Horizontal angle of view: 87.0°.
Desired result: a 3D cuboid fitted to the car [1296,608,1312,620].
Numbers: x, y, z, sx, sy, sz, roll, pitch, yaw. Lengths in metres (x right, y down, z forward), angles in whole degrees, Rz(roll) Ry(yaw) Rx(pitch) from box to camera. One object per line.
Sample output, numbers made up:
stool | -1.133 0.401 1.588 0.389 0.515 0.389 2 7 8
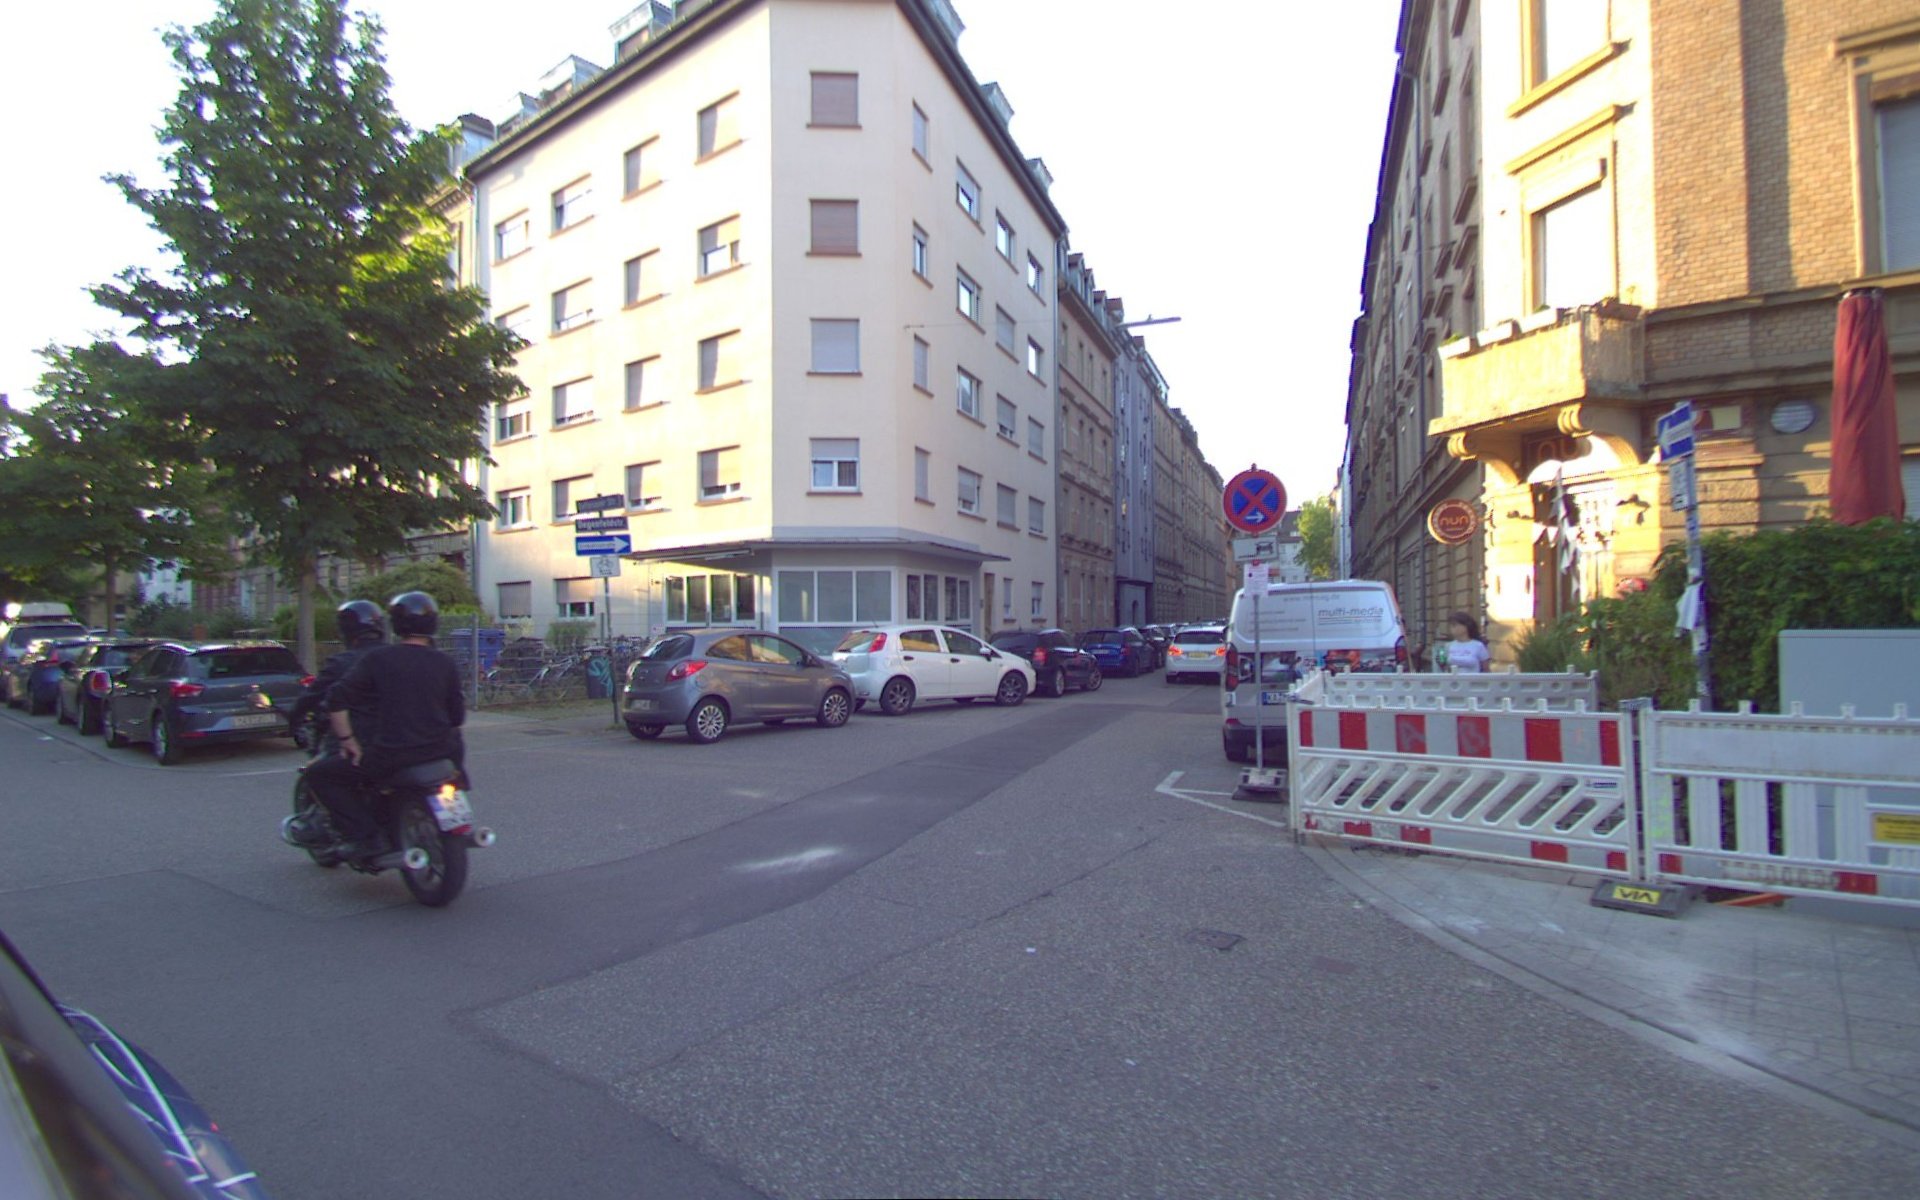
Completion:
car | 42.059 1.707 123.763 1.774 1.470 3.974 -2 -2 20

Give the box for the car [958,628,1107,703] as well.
car | 1.682 1.345 21.882 1.986 1.450 4.047 -2 -2 23

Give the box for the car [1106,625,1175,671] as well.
car | 6.222 1.603 34.639 1.773 1.478 3.976 -2 -2 18

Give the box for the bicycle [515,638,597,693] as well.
bicycle | -8.501 1.374 21.303 1.528 1.100 0.500 -1 0 3

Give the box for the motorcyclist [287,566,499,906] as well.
motorcyclist | -2.849 0.646 5.101 0.777 1.552 0.546 4 -4 -40

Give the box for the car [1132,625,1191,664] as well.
car | 7.922 1.711 39.610 1.808 1.419 3.976 -2 -2 18

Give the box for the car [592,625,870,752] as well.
car | -3.169 1.160 14.468 1.843 1.519 3.471 -3 -2 39

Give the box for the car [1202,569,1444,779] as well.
car | 4.290 0.782 12.472 2.190 1.990 5.264 -2 -2 17

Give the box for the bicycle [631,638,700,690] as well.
bicycle | -6.791 1.453 23.394 0.499 1.100 1.531 -2 0 34

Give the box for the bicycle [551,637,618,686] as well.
bicycle | -9.212 1.489 24.889 0.499 1.100 1.531 -2 0 34

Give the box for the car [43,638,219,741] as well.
car | -13.880 1.383 16.862 4.142 1.431 1.723 -2 -1 43

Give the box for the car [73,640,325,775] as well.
car | -10.321 1.305 13.603 4.458 1.473 1.658 -2 -1 39

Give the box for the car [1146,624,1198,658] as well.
car | 9.377 1.778 44.577 1.808 1.419 3.976 -2 -2 18

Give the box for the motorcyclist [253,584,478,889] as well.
motorcyclist | -3.356 0.711 5.706 0.878 1.516 0.971 4 -4 -40

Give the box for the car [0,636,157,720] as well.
car | -17.792 1.463 20.215 4.586 1.423 1.843 -2 -1 39

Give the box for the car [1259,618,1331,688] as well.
car | 8.557 1.299 25.767 1.572 1.635 3.974 -2 -2 20

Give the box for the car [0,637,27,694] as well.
car | -26.609 1.751 27.191 4.019 1.452 1.711 -2 -1 39

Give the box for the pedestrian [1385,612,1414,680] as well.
pedestrian | 11.255 1.168 25.901 0.589 1.699 0.495 -2 0 18

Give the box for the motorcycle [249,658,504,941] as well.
motorcycle | -3.295 0.957 5.605 0.835 1.218 2.078 4 -4 -39

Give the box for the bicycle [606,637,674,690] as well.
bicycle | -7.500 1.472 23.785 0.499 1.150 1.531 -2 0 34

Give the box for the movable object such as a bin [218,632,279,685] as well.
movable object such as a bin | -19.732 1.599 28.063 1.549 1.398 0.937 -2 0 37

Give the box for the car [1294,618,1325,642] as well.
car | 22.766 1.934 65.925 1.774 1.470 3.974 -2 -2 20

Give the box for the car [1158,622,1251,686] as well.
car | 6.517 1.369 26.629 1.808 1.534 4.565 -1 -2 21

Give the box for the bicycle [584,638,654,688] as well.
bicycle | -8.163 1.490 24.278 0.499 1.100 1.617 -2 0 34

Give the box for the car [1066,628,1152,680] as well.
car | 4.467 1.570 29.929 1.859 1.419 3.976 -2 -2 18

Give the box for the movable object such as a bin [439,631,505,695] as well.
movable object such as a bin | -10.977 1.399 22.765 1.398 1.362 0.857 -2 0 42

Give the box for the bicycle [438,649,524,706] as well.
bicycle | -9.537 1.518 20.122 1.927 1.033 0.681 -2 0 35

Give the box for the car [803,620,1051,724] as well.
car | -0.531 1.183 18.088 4.007 1.520 1.978 -1 0 -38

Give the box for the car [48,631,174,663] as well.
car | -39.919 2.178 47.685 1.625 1.351 4.356 -2 -1 41

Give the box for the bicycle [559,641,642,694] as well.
bicycle | -7.901 1.479 22.235 1.689 1.100 0.384 -1 0 4

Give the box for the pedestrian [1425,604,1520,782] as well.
pedestrian | 5.000 0.864 9.868 0.710 1.630 0.778 -2 0 34

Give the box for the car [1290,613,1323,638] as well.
car | 21.089 1.559 61.548 1.774 1.470 3.974 -2 -2 20

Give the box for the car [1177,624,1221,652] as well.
car | 12.611 1.968 53.153 1.914 1.419 3.976 -2 -2 18

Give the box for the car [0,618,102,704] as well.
car | -21.603 1.349 23.464 4.618 1.792 1.843 -2 -1 39
